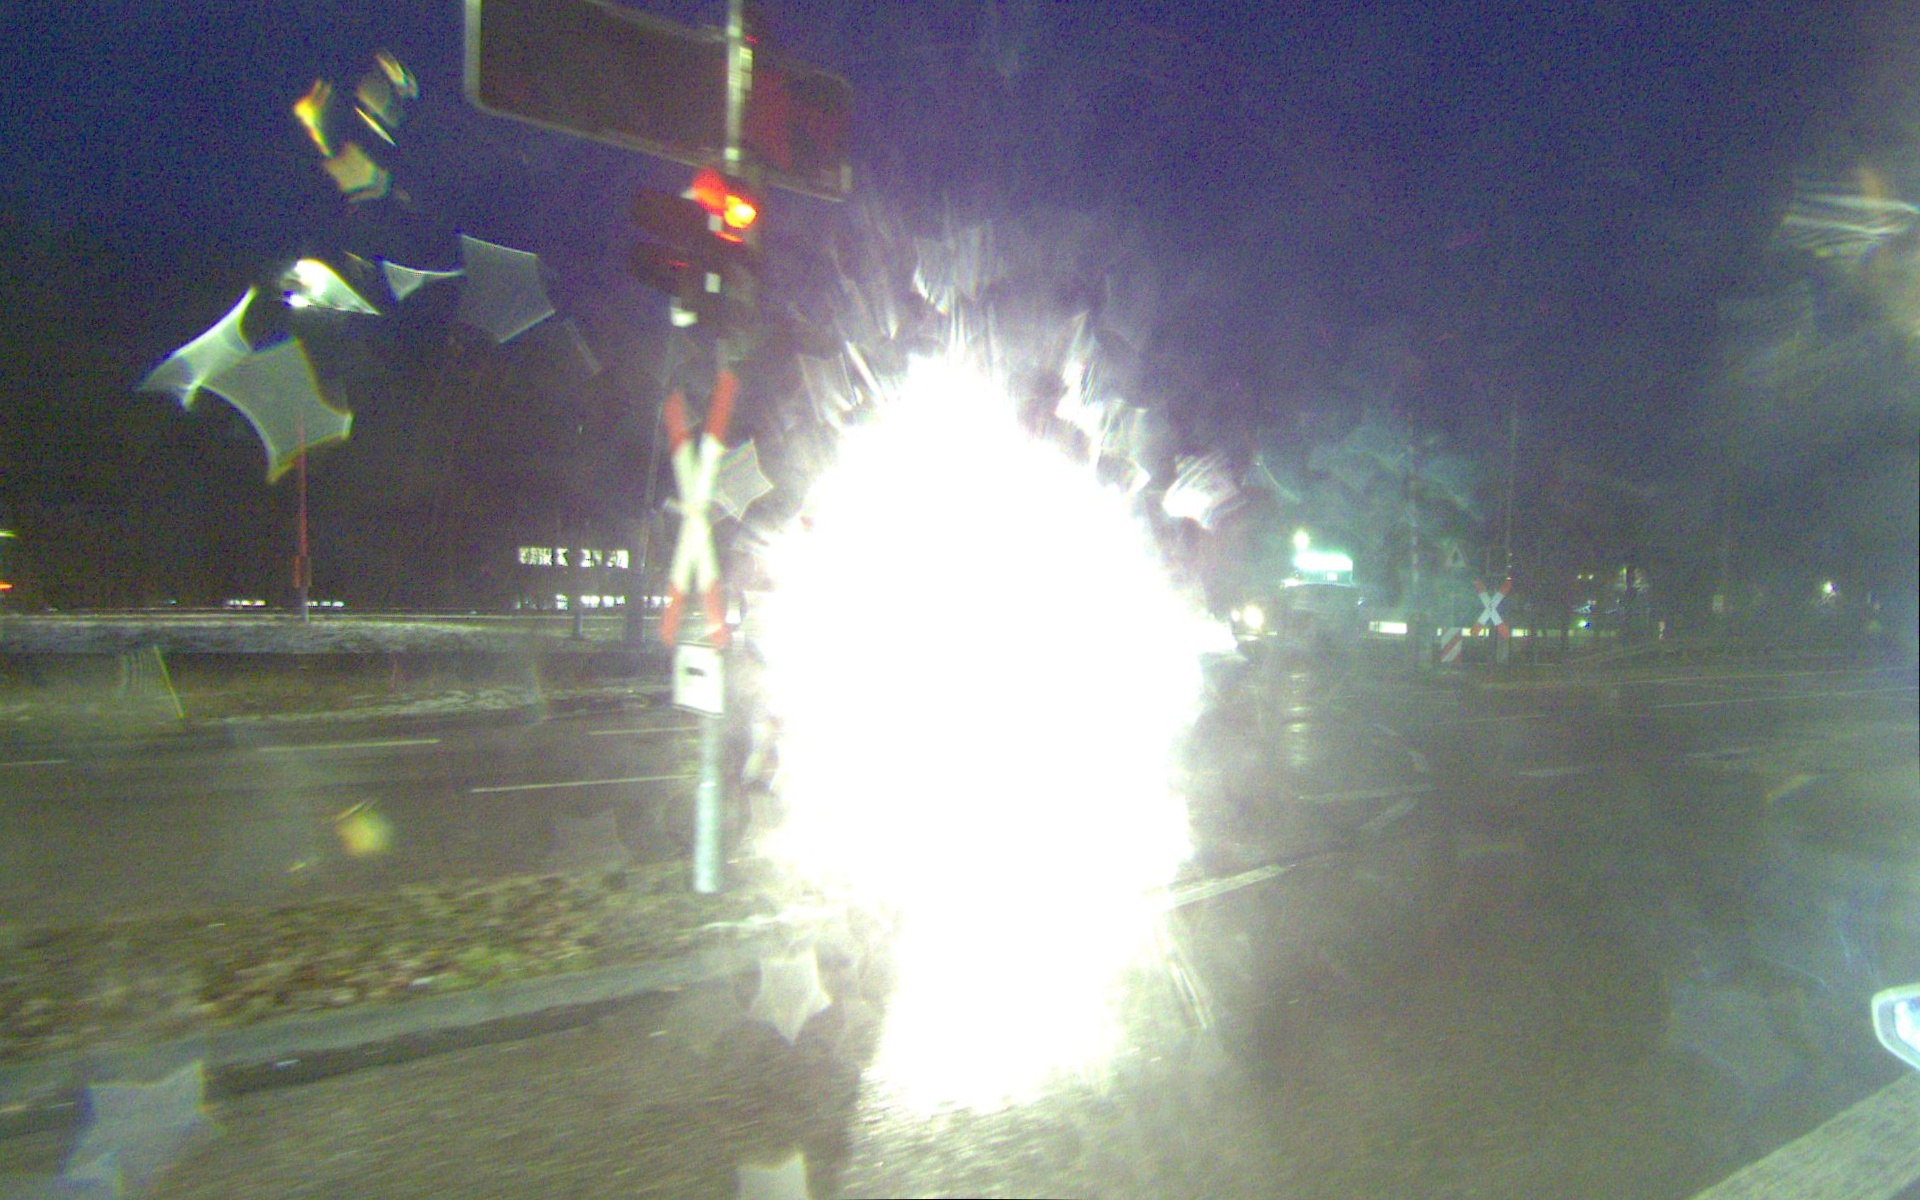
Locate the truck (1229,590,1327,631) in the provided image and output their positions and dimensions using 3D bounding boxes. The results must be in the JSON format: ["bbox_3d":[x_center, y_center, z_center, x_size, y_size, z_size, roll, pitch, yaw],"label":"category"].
[{"bbox_3d":[19.120,0.668,60.332,5.946,2.302,1.985,1,0,-28],"label":"truck"}]

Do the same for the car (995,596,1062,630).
[{"bbox_3d":[3.431,0.622,49.420,1.696,1.539,3.992,2,0,30],"label":"car"}]

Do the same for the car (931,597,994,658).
[{"bbox_3d":[0.014,0.717,28.774,1.487,1.538,4.371,2,1,-3],"label":"car"}]

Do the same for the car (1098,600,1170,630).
[{"bbox_3d":[9.457,0.817,54.475,3.968,1.539,1.706,1,1,-41],"label":"car"}]
